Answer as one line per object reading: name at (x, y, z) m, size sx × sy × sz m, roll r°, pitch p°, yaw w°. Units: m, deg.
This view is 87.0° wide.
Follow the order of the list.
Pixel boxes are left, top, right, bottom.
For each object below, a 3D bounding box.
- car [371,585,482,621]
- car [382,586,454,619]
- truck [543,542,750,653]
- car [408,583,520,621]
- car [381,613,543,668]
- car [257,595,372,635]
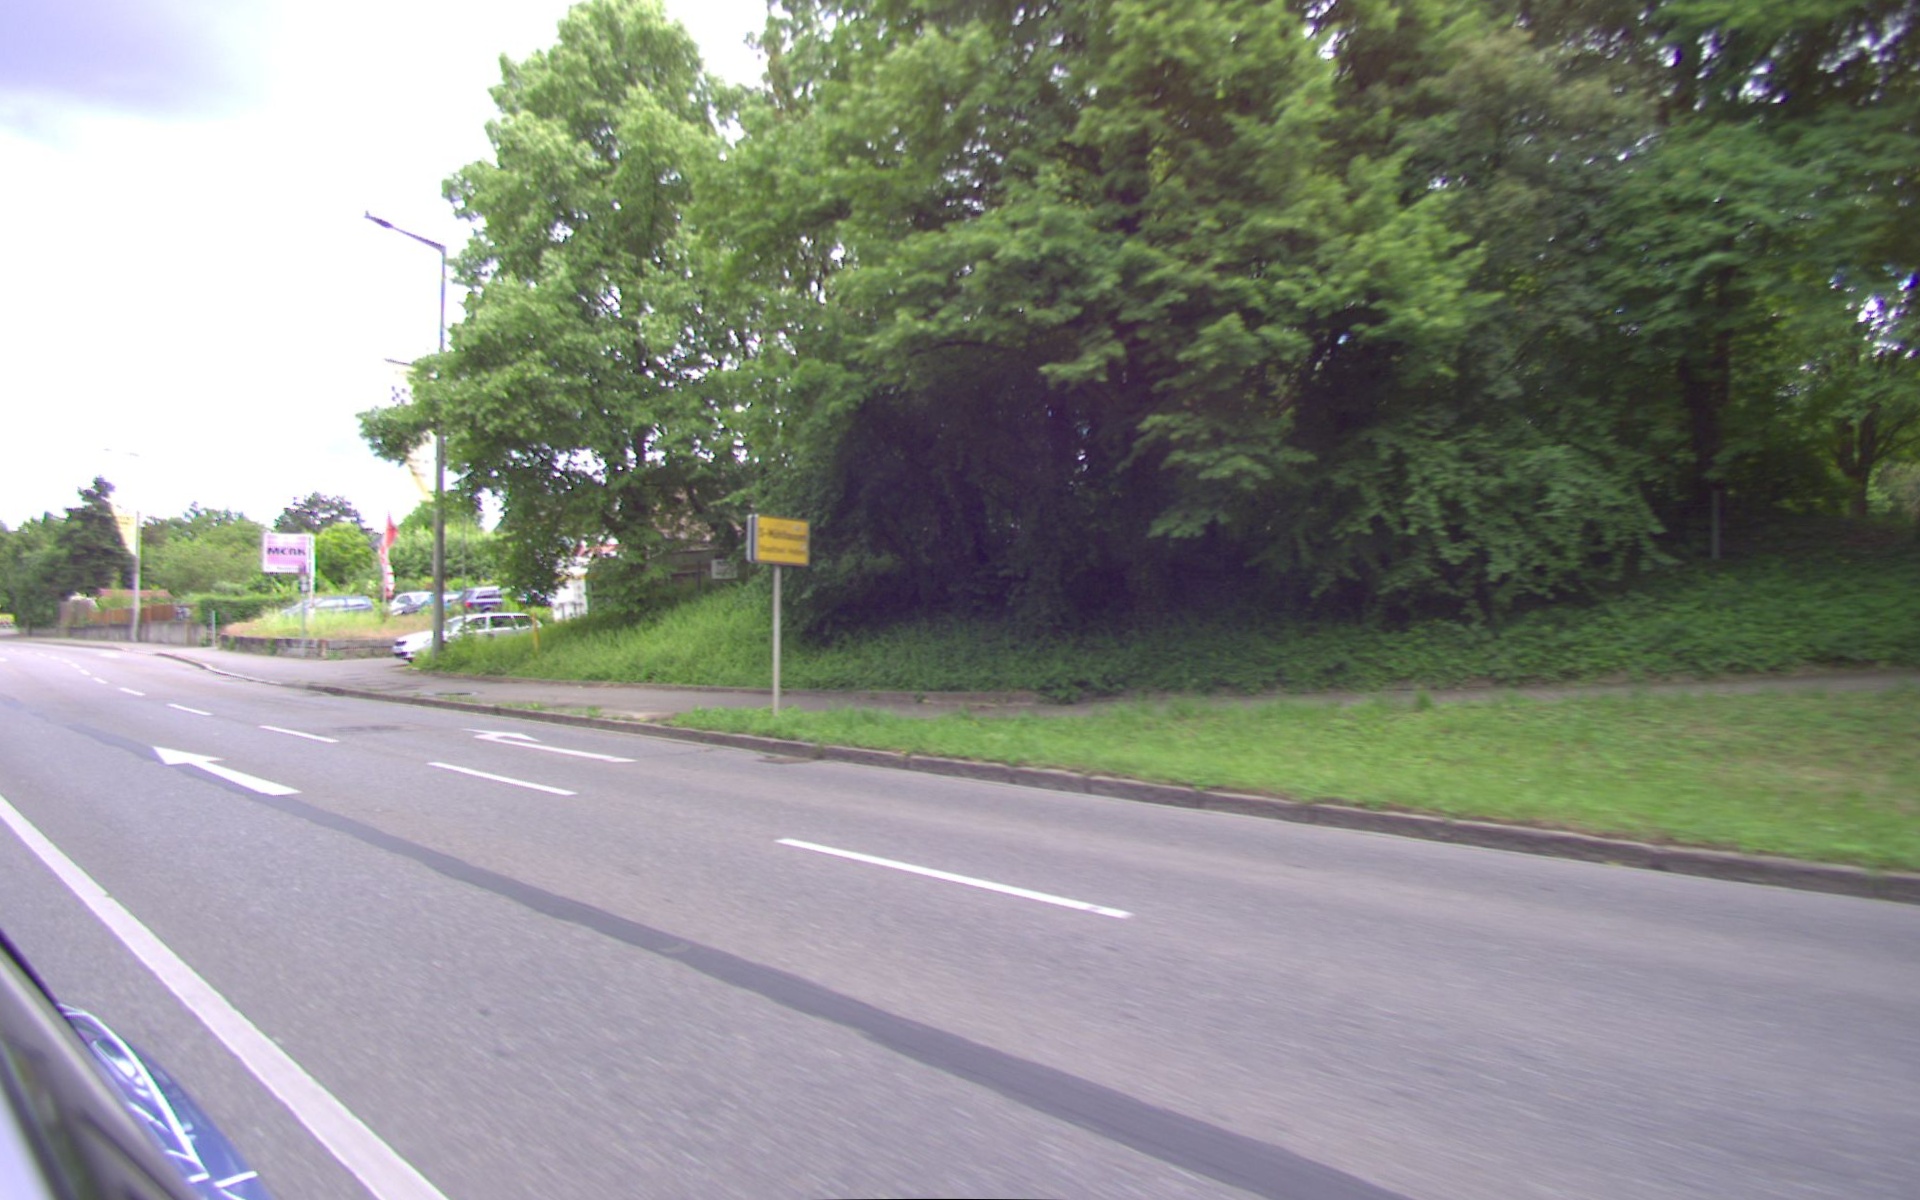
car at (-23.248, 0.104, 44.218) m, size 1.734 × 1.519 × 3.946 m, roll -1°, pitch 0°, yaw 40°
car at (-25.689, 0.136, 47.895) m, size 3.998 × 1.519 × 1.711 m, roll -1°, pitch 0°, yaw 41°
truck at (-11.243, -0.117, 36.853) m, size 2.656 × 3.657 × 6.836 m, roll -1°, pitch 0°, yaw 40°
car at (-21.134, 0.072, 43.199) m, size 1.734 × 1.519 × 3.946 m, roll -1°, pitch 0°, yaw 40°
car at (-15.438, 1.229, 31.546) m, size 1.746 × 1.503 × 4.169 m, roll -3°, pitch -2°, yaw 37°
car at (-28.055, 0.612, 44.086) m, size 1.878 × 1.630 × 3.855 m, roll -1°, pitch 0°, yaw 40°
